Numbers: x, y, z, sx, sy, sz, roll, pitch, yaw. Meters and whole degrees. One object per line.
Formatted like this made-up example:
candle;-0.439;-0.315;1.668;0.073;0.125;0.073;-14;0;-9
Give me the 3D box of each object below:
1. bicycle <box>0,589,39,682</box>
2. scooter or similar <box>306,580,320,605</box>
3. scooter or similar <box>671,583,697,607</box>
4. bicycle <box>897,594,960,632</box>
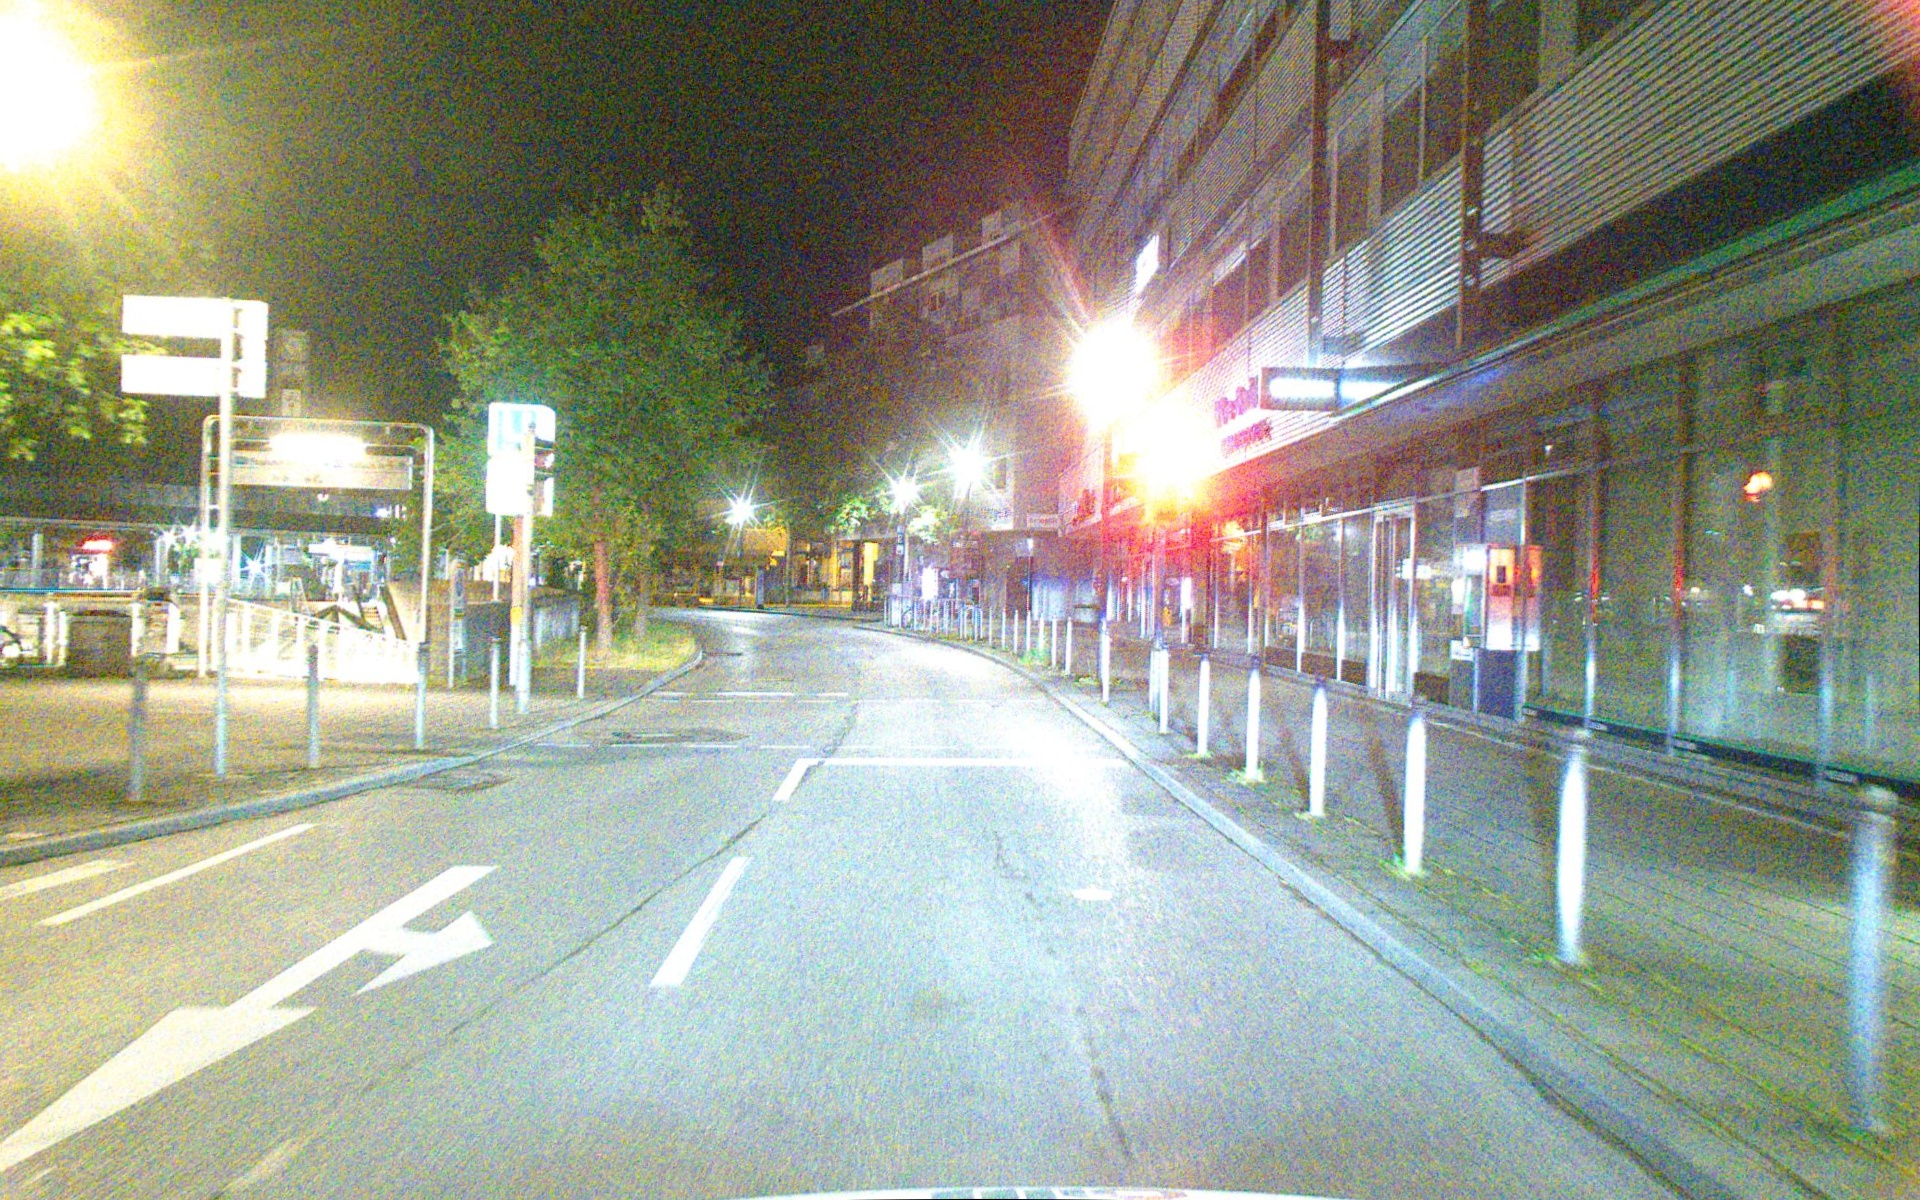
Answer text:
bicycle;-12.993;0.456;22.442;0.752;1.182;1.727;-1;2;-33
scooter or similar;-35.599;-0.412;90.990;0.426;1.307;1.133;-1;2;-35
scooter or similar;-15.205;-0.258;91.092;1.232;1.248;0.593;2;1;-29
bicycle;-0.924;0.391;48.771;1.727;1.081;0.650;1;1;-26
